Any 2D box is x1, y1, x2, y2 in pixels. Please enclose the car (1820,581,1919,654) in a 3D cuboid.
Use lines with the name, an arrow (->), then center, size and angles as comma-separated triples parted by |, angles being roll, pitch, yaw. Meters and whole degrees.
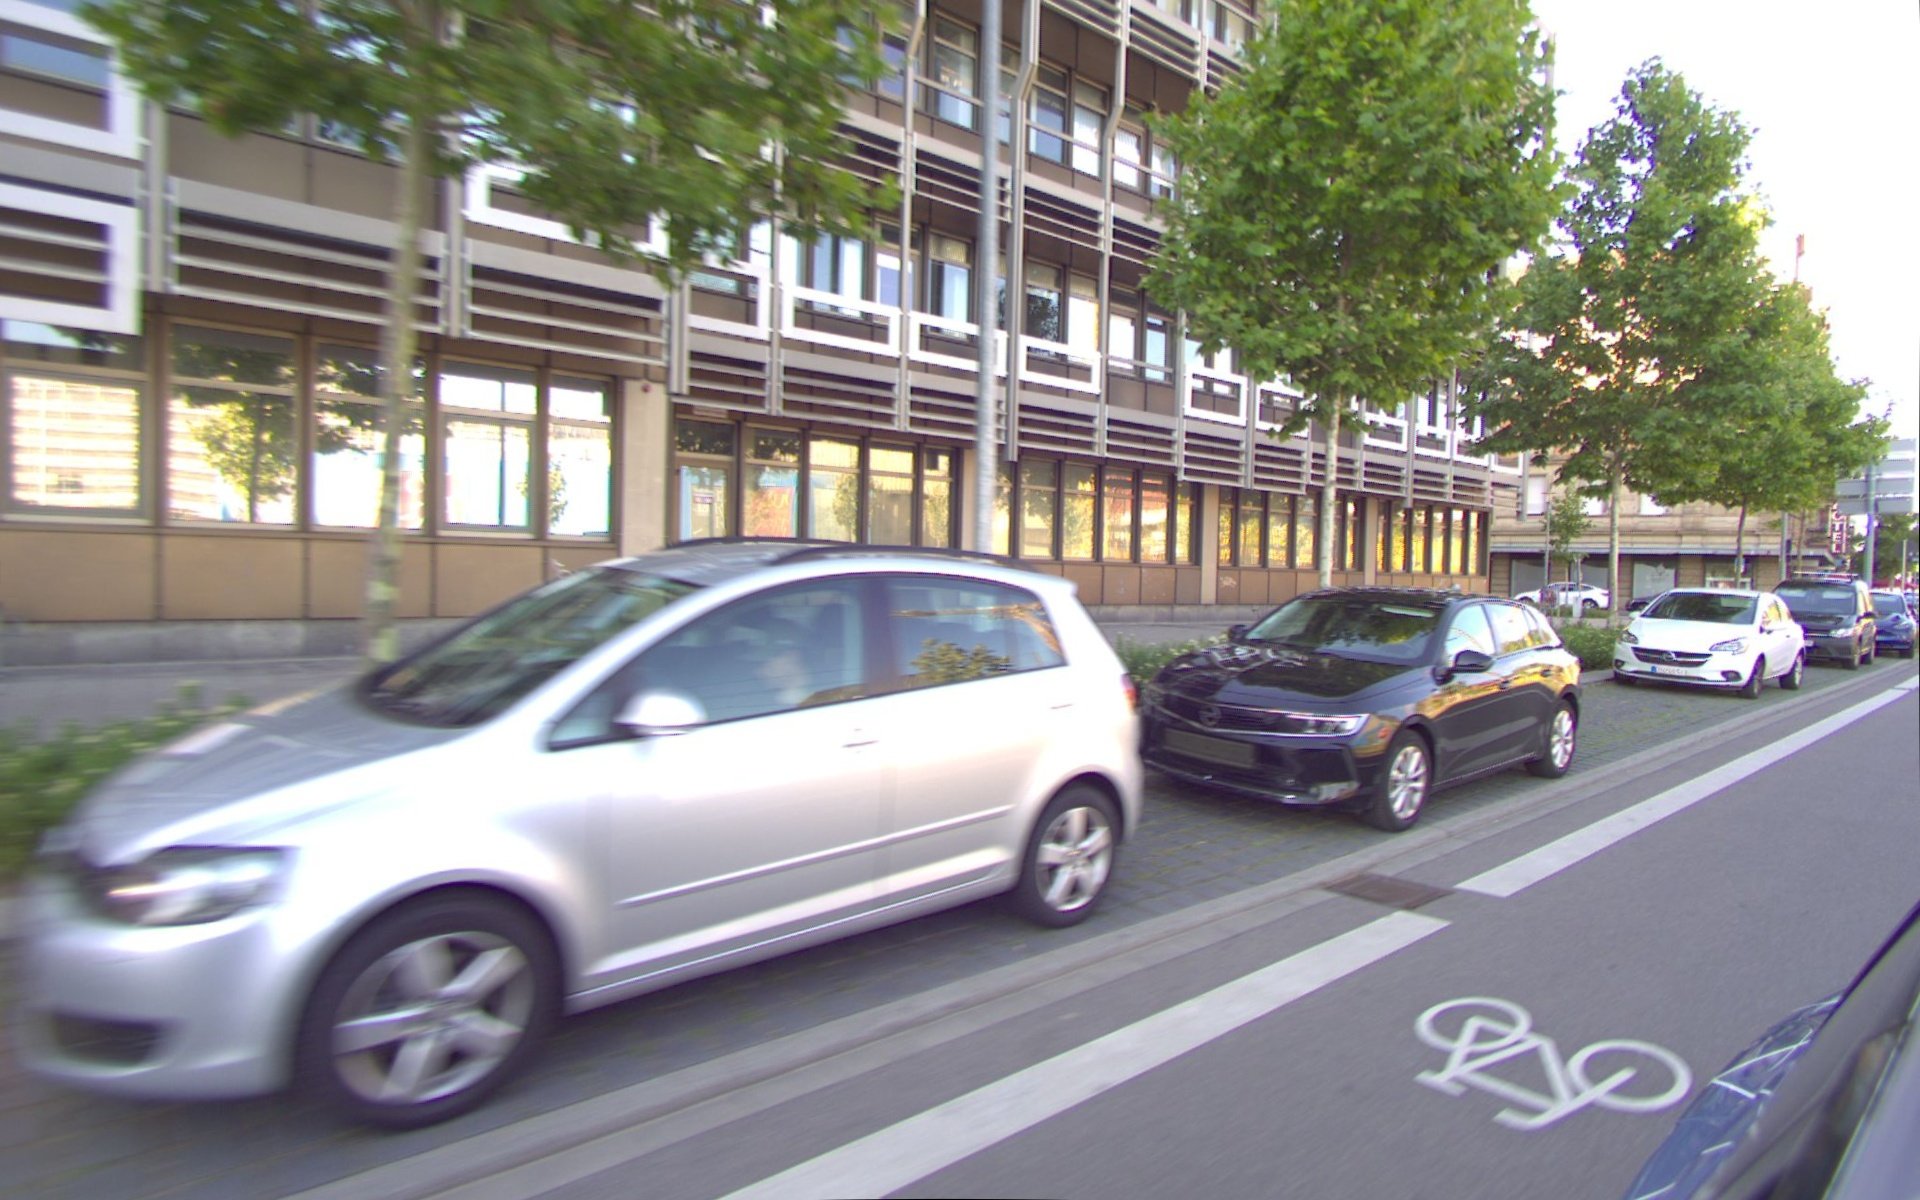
car -> 23.690, 0.386, 26.149 | 1.932, 1.618, 4.625 | 5, 4, 43

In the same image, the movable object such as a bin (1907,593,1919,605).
movable object such as a bin -> 77.679, -0.072, 82.313 | 0.549, 0.935, 0.679 | 0, 5, -27

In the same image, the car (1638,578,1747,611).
car -> 35.911, -0.295, 49.643 | 4.254, 1.467, 1.837 | 2, 3, 39

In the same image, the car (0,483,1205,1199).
car -> -1.008, 0.518, 4.037 | 4.142, 1.641, 1.732 | 0, 4, -41

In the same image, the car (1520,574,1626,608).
car -> 31.956, -0.525, 52.855 | 4.532, 1.615, 1.837 | 2, 3, 39

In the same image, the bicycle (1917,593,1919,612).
bicycle -> 56.422, 0.218, 58.219 | 0.556, 1.117, 1.849 | 0, 4, -41

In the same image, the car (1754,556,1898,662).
car -> 18.402, 0.138, 21.436 | 4.319, 1.942, 1.738 | 0, 4, -43

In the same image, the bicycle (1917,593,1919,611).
bicycle -> 57.412, 0.177, 59.331 | 0.556, 1.060, 1.809 | 0, 4, -41

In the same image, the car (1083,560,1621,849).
car -> 3.066, 0.531, 7.458 | 4.299, 1.466, 1.799 | 0, 4, -40

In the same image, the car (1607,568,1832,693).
car -> 11.246, 0.372, 14.888 | 4.128, 1.508, 1.668 | 0, 4, -40

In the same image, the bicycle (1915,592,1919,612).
bicycle -> 54.227, 0.171, 56.105 | 0.498, 1.117, 1.726 | 0, 4, -41
